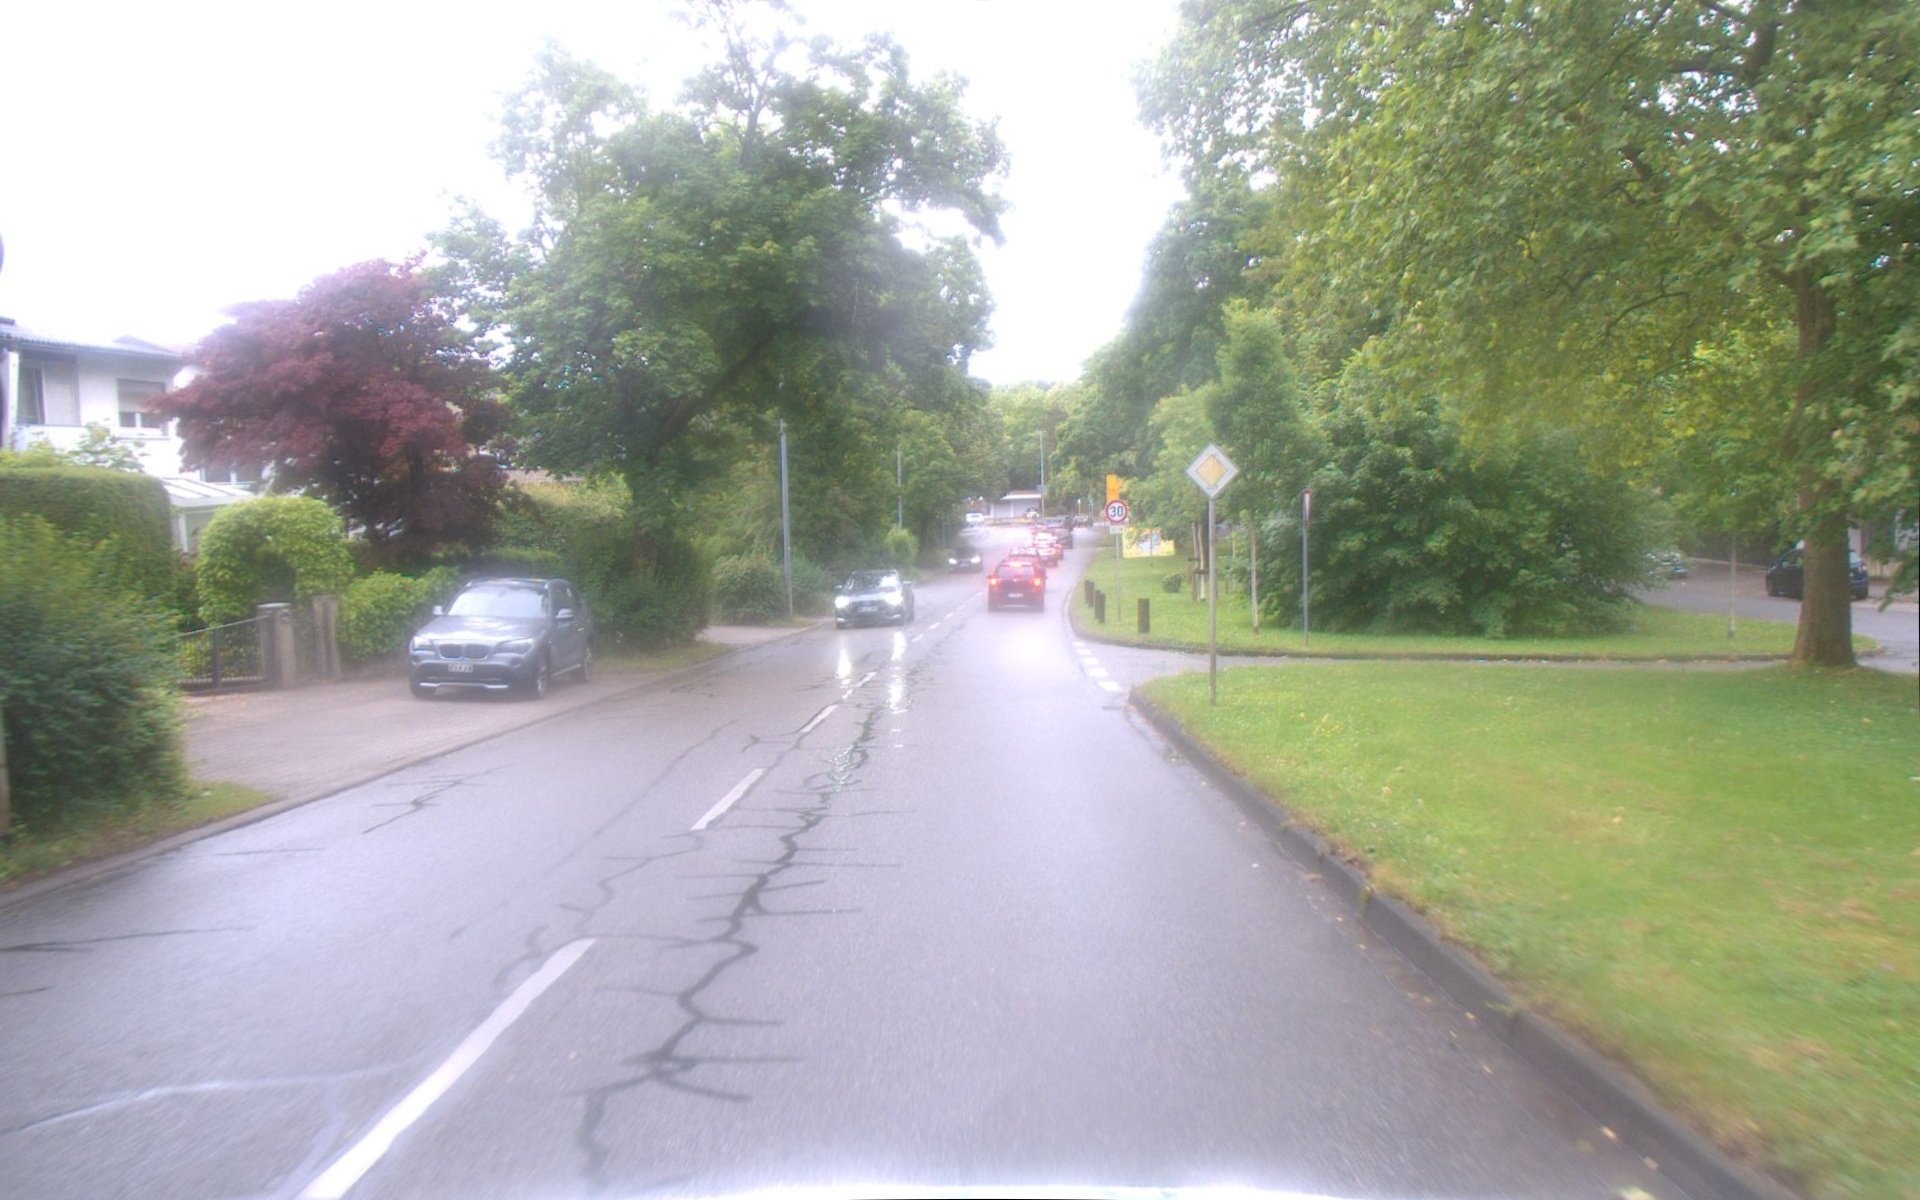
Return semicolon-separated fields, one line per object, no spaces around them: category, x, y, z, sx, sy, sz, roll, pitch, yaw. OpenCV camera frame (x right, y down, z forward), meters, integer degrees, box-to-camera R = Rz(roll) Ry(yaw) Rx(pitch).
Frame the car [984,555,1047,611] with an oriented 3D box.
car;1.766;-0.565;51.779;1.761;1.541;3.757;0;3;5

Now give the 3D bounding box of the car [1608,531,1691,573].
car;26.063;-1.824;62.644;1.646;1.399;3.712;-4;3;2

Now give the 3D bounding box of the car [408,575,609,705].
car;-6.260;0.478;23.404;1.629;1.569;4.284;2;2;0

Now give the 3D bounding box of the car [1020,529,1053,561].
car;4.678;-3.366;101.281;1.816;1.815;4.004;-2;3;5

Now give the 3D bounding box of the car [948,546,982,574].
car;0.329;-2.330;94.572;1.718;1.386;4.328;-3;3;2

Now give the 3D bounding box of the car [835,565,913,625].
car;-2.231;-0.166;44.000;1.655;1.420;4.492;-3;1;1

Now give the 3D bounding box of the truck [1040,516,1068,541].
truck;8.378;-6.398;147.312;2.366;2.039;5.155;-2;3;3

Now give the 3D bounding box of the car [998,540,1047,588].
car;2.666;-1.532;69.303;1.816;1.815;4.004;-2;3;5

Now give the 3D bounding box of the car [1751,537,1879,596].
car;26.044;-1.065;50.538;1.863;1.652;4.037;-2;2;1
